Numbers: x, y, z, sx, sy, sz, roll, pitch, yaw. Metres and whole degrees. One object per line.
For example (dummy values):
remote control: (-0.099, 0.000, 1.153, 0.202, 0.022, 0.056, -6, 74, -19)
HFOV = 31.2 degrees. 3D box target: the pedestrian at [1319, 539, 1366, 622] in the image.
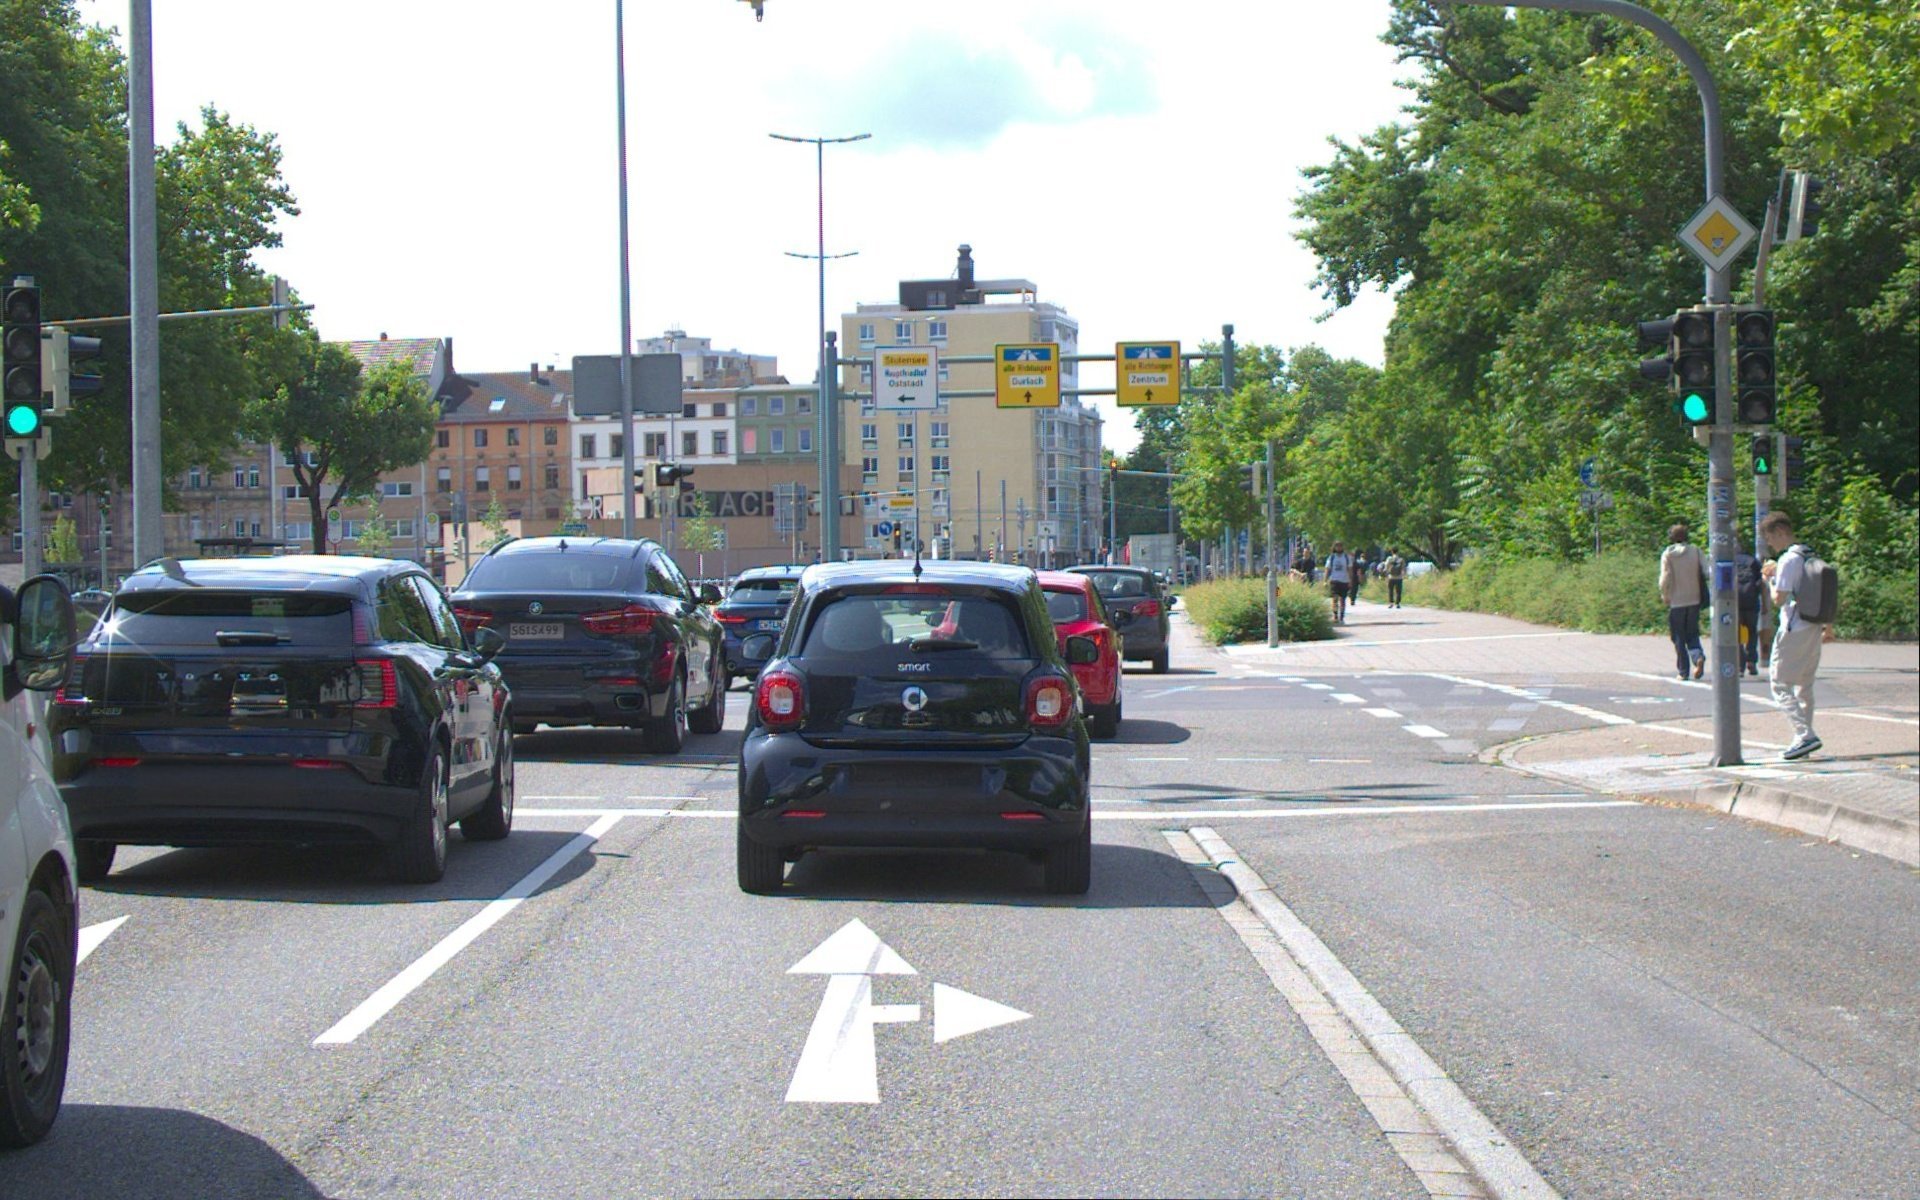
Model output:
pedestrian: (7.979, -0.414, 71.797, 0.851, 1.695, 0.931, -2, 0, 2)

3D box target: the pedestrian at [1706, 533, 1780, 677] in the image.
pedestrian: (9.389, 0.050, 41.261, 0.795, 1.698, 1.182, 0, 1, 10)

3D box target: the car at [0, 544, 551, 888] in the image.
car: (-3.380, 0.492, 17.757, 2.017, 1.525, 4.887, 0, 1, -1)

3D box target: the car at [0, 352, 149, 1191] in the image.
car: (-3.218, 0.410, 6.929, 2.006, 1.949, 5.194, 0, 1, -1)

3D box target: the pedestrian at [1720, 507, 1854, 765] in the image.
pedestrian: (5.908, 0.255, 24.555, 0.594, 1.794, 0.611, -3, 1, -35)

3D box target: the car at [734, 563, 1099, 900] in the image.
car: (-0.143, 0.568, 17.076, 1.611, 1.480, 3.517, 1, 1, 2)

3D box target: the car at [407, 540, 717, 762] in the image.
car: (-3.076, 0.336, 27.426, 1.827, 1.595, 4.393, 1, 1, 2)

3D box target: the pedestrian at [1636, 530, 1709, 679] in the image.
pedestrian: (8.287, 0.041, 40.033, 0.795, 1.698, 1.182, 0, 1, 10)

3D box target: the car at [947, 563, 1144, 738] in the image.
car: (0.764, 0.401, 30.426, 1.611, 1.406, 3.517, 1, 1, 2)

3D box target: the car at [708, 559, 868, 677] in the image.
car: (-1.995, 0.183, 40.724, 1.611, 1.320, 3.517, 0, 1, 2)

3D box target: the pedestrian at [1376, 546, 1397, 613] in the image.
pedestrian: (12.083, -0.567, 97.389, 0.501, 1.884, 0.560, 1, 0, -1)

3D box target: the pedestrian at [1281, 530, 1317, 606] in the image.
pedestrian: (8.883, -0.843, 90.063, 0.838, 1.962, 0.861, -1, 0, 0)

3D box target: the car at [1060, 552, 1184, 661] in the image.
car: (2.213, 0.062, 47.599, 1.611, 1.406, 3.517, 1, 1, 2)
